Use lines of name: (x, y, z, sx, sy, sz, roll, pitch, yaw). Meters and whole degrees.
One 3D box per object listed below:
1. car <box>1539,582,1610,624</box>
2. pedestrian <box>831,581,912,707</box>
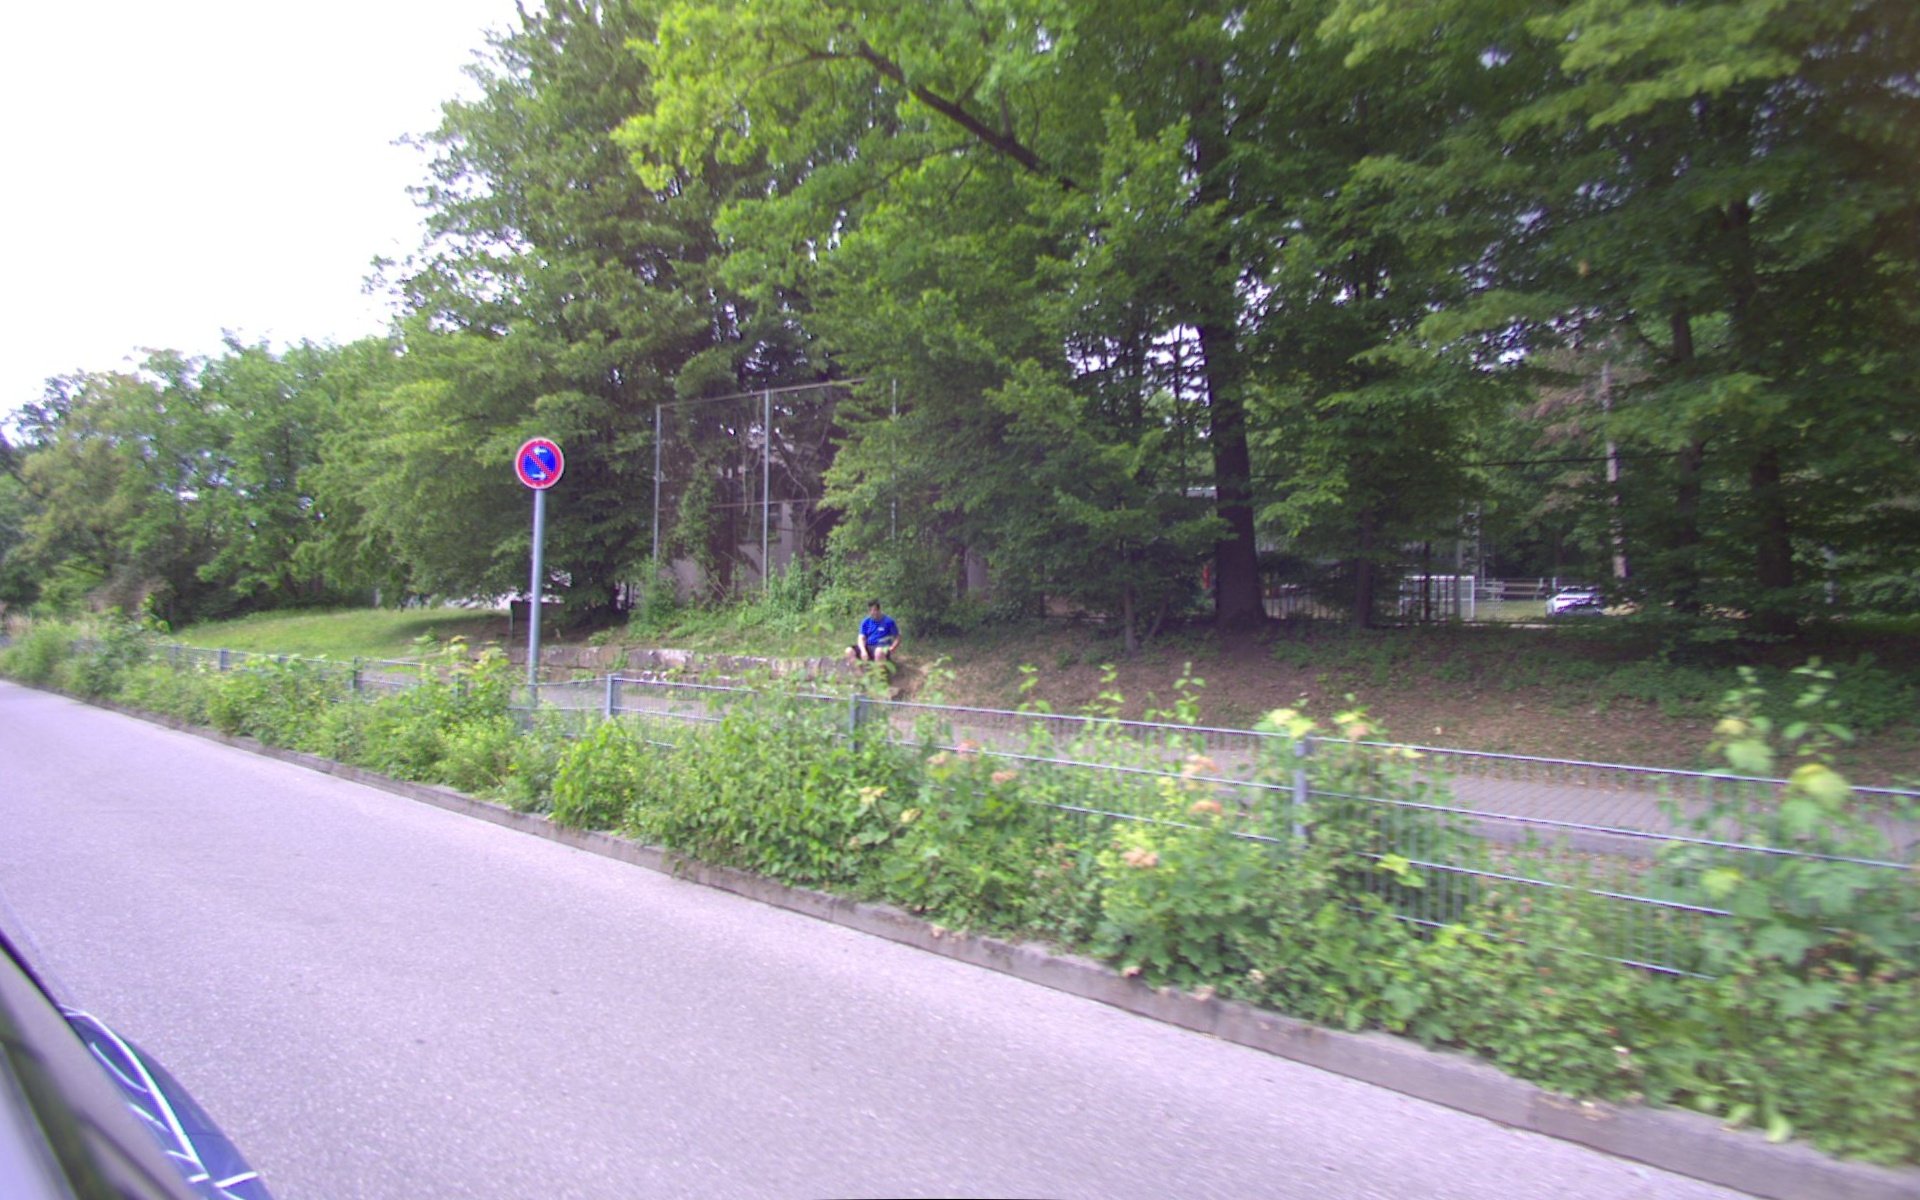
car: (26.753, 0.181, 44.213, 1.961, 1.707, 4.415, 0, -2, 22)
pedestrian: (-1.215, 0.602, 13.983, 0.808, 1.675, 0.752, -1, -3, 39)
